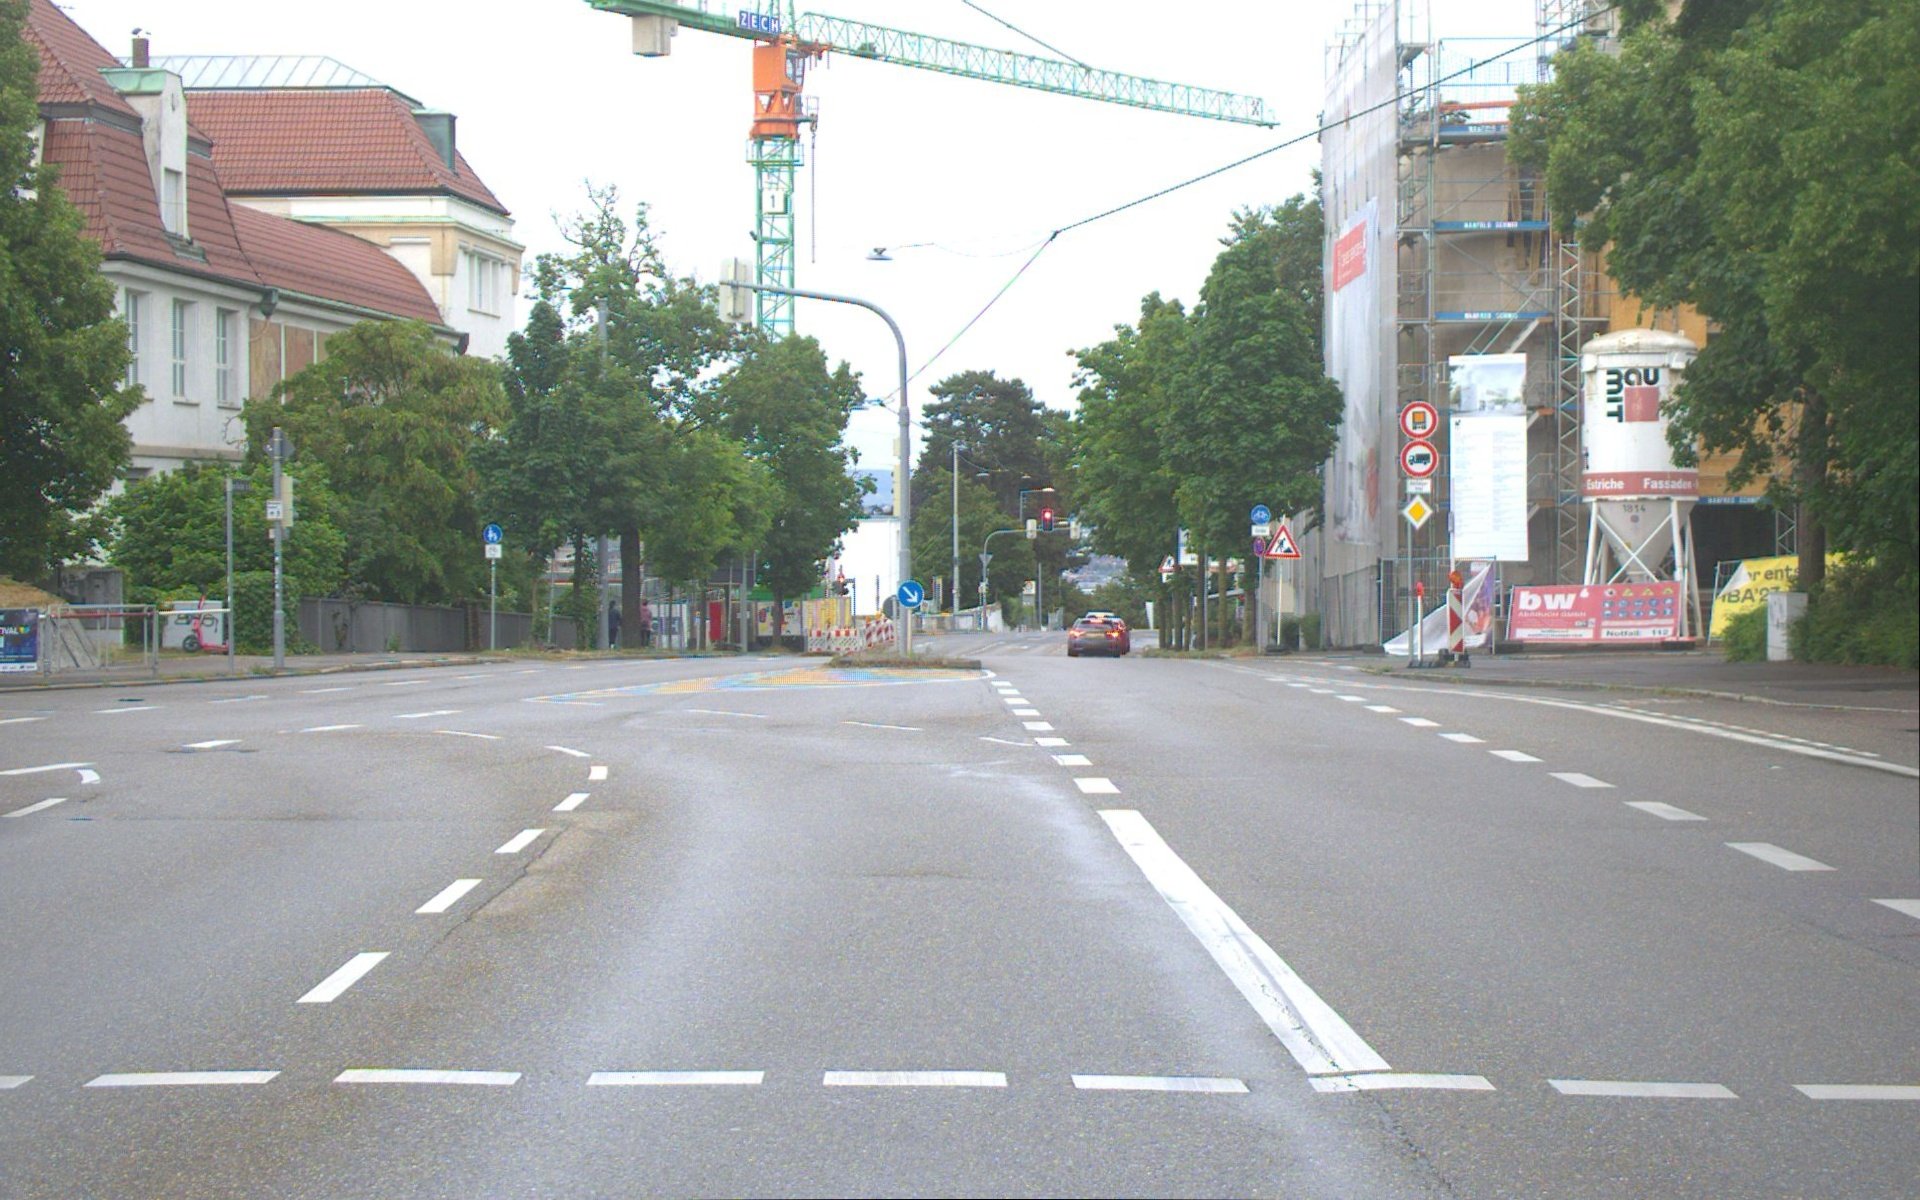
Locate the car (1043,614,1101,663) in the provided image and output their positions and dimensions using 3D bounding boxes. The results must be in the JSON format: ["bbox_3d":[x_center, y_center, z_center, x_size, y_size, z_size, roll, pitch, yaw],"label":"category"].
[{"bbox_3d":[4.236,1.463,130.750,1.993,1.744,4.000,-1,1,-1],"label":"car"}]

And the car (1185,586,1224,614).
[{"bbox_3d":[15.619,-0.010,219.343,1.994,1.744,3.998,-1,1,11],"label":"car"}]

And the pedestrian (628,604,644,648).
[{"bbox_3d":[-10.302,0.828,109.323,0.474,1.392,0.411,0,1,-1],"label":"pedestrian"}]

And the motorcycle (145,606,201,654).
[{"bbox_3d":[-14.851,0.559,64.881,0.849,0.874,0.877,1,0,-1],"label":"motorcycle"}]

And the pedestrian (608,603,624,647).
[{"bbox_3d":[-10.945,0.803,109.367,0.474,1.392,0.411,0,1,-1],"label":"pedestrian"}]

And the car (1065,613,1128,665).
[{"bbox_3d":[4.835,1.369,122.381,1.993,1.744,4.000,-1,1,-1],"label":"car"}]
